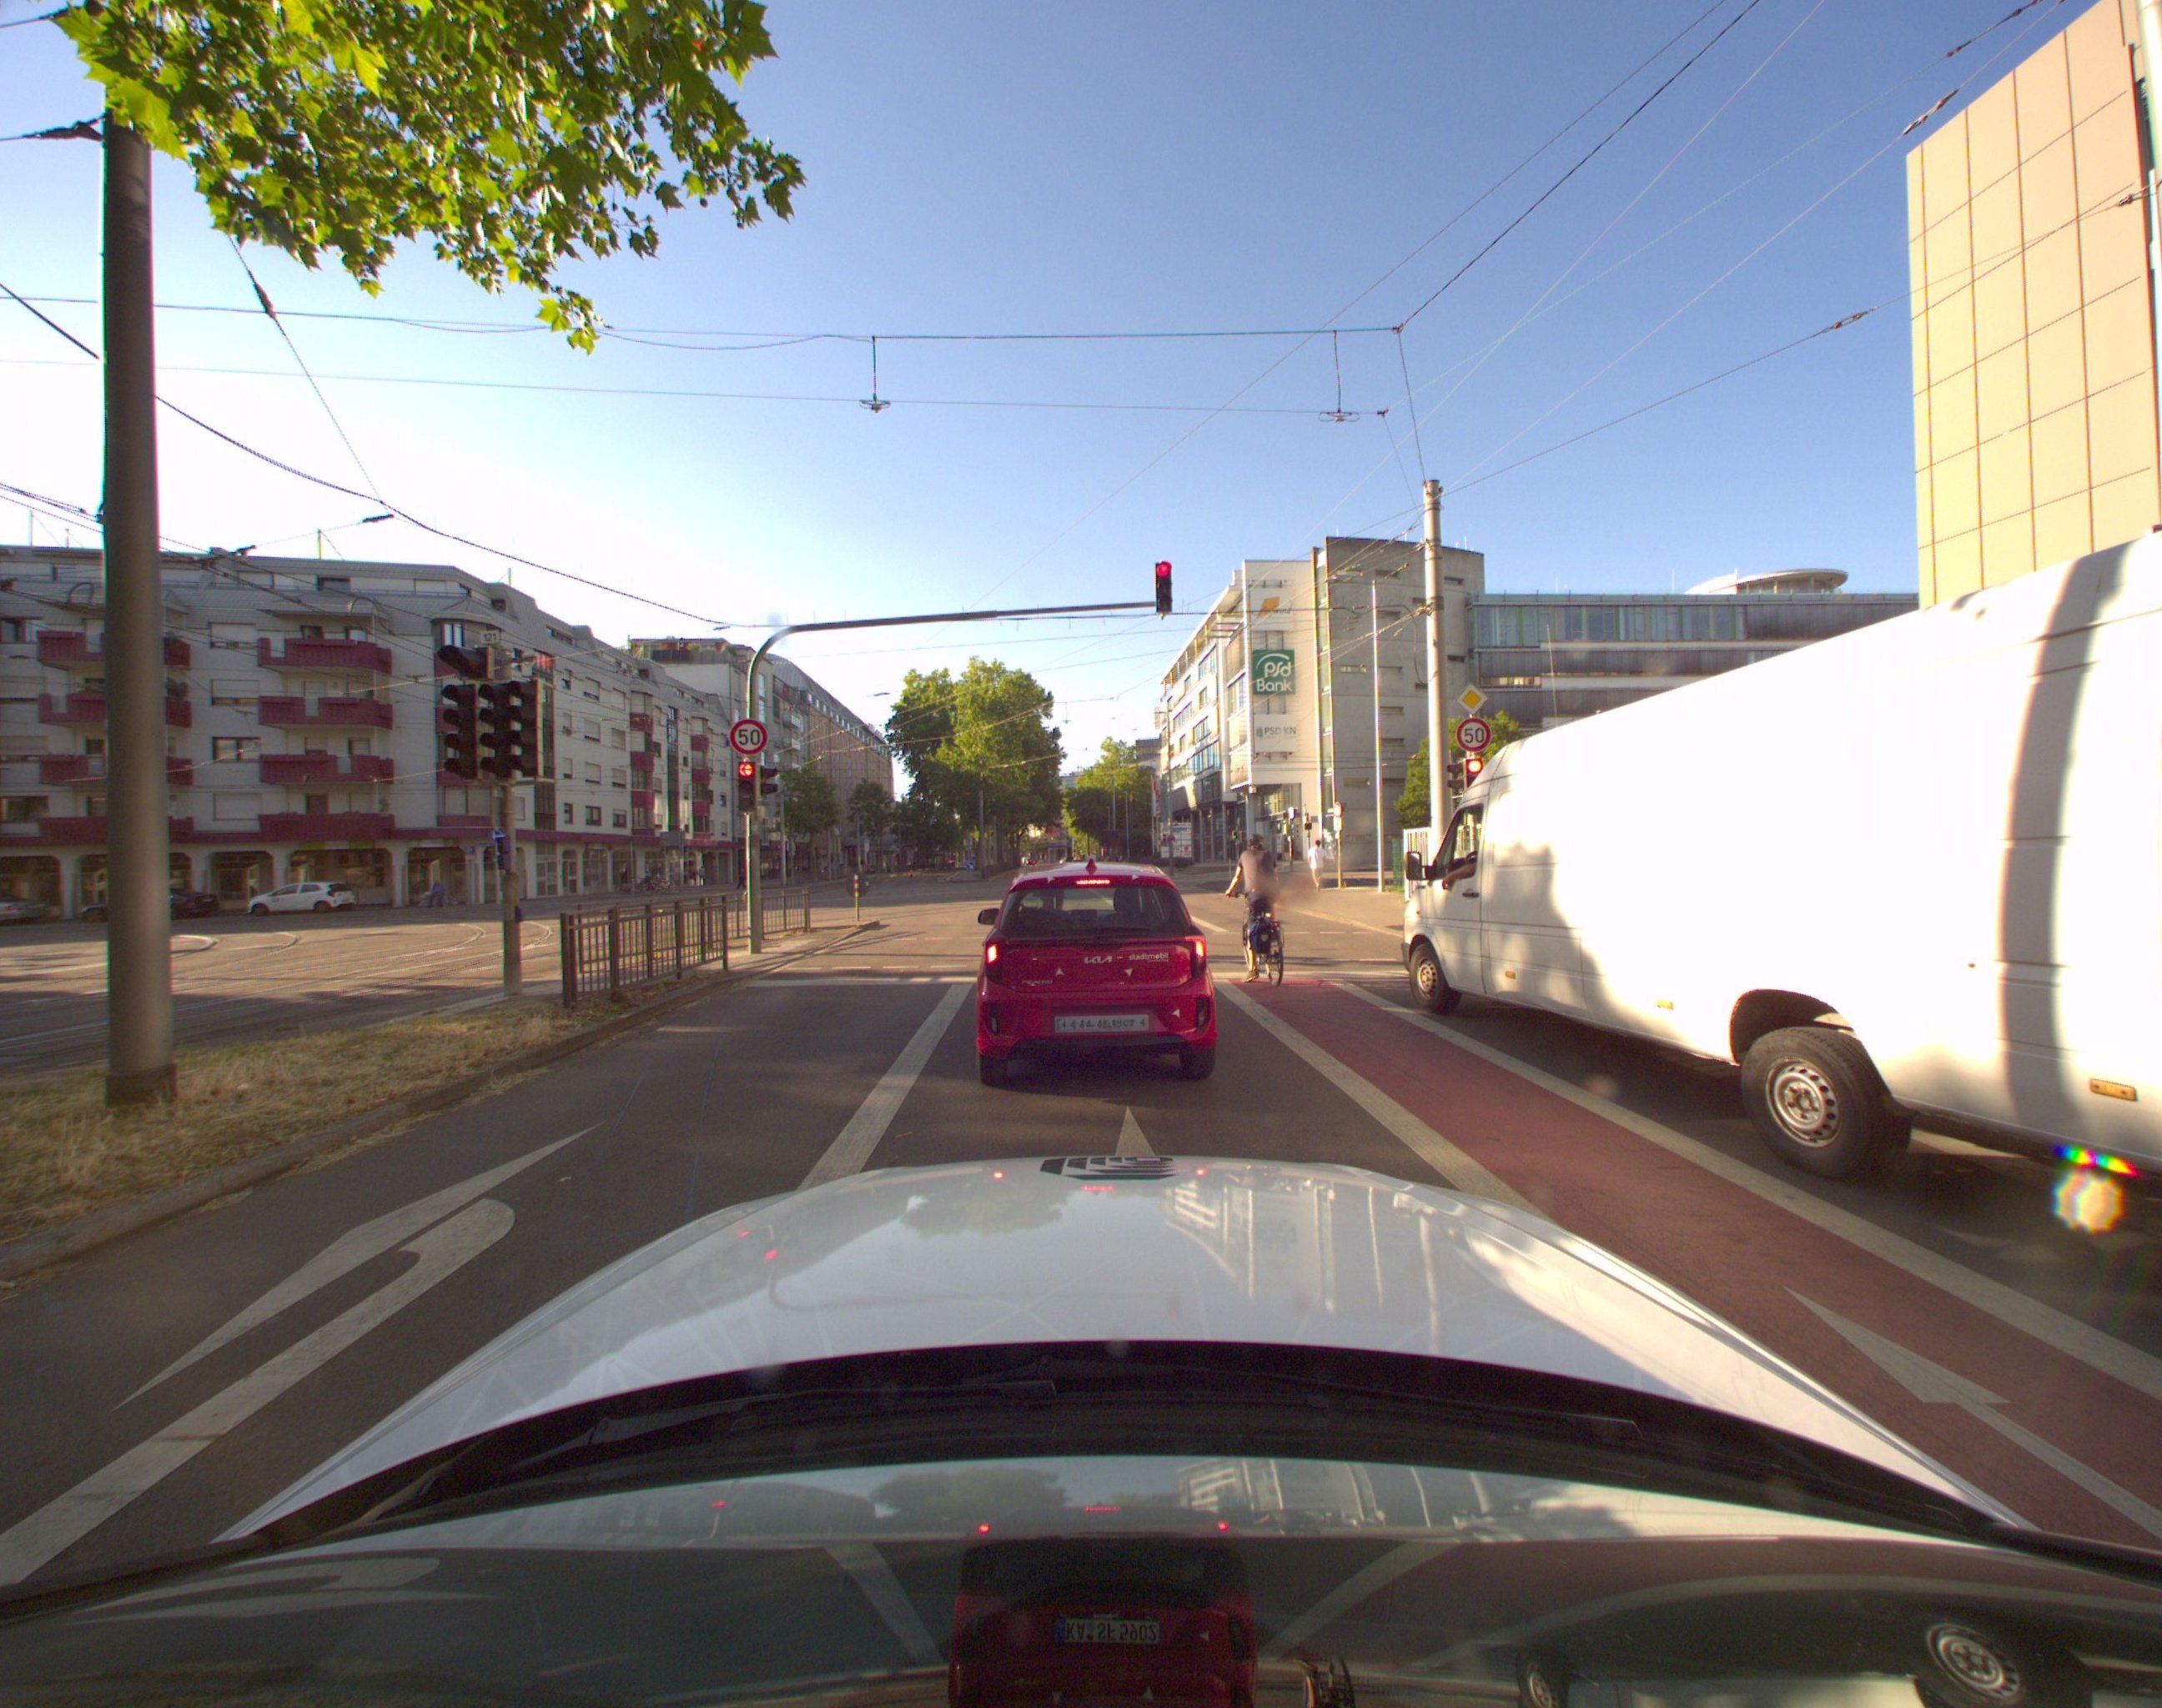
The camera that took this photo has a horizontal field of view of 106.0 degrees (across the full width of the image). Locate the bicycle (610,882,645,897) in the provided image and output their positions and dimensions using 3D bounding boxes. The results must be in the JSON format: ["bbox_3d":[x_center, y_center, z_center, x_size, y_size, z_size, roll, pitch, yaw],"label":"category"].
[{"bbox_3d":[-28.261,2.201,50.795,1.837,0.854,0.553,-2,0,-1],"label":"bicycle"}]

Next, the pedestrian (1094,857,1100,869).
[{"bbox_3d":[2.222,1.273,112.483,0.641,1.579,0.722,-5,0,-4],"label":"pedestrian"}]

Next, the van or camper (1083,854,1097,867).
[{"bbox_3d":[1.466,1.045,132.474,1.988,1.989,4.741,-1,0,-2],"label":"van or camper"}]

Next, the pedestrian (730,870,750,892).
[{"bbox_3d":[-24.666,1.926,58.924,1.038,1.544,0.697,-2,0,12],"label":"pedestrian"}]

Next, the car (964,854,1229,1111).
[{"bbox_3d":[0.027,0.788,6.718,1.609,1.535,3.408,-1,0,-3],"label":"car"}]

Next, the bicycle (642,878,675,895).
[{"bbox_3d":[-27.706,2.127,53.440,1.840,0.985,0.552,-2,0,-6],"label":"bicycle"}]

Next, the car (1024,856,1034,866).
[{"bbox_3d":[-11.297,1.570,176.086,1.991,2.013,3.992,-2,0,-6],"label":"car"}]

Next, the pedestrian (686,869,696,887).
[{"bbox_3d":[-31.849,1.959,66.526,0.533,1.494,0.586,-2,0,-6],"label":"pedestrian"}]

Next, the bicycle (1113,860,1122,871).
[{"bbox_3d":[3.766,1.176,84.494,0.694,1.098,1.750,-5,0,-1],"label":"bicycle"}]

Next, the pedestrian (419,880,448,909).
[{"bbox_3d":[-32.485,2.041,40.869,0.857,1.384,0.833,-2,0,-14],"label":"pedestrian"}]

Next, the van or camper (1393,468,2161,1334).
[{"bbox_3d":[4.316,0.145,5.366,1.963,2.716,6.301,-1,0,-1],"label":"van or camper"}]

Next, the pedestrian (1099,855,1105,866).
[{"bbox_3d":[3.410,1.070,131.769,0.888,1.753,0.841,-2,0,1],"label":"pedestrian"}]

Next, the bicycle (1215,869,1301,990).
[{"bbox_3d":[2.123,0.851,9.987,0.647,1.281,1.967,-2,0,2],"label":"bicycle"}]

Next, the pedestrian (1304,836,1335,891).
[{"bbox_3d":[8.111,0.320,27.752,0.773,1.823,1.218,-2,0,7],"label":"pedestrian"}]

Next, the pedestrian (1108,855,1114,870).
[{"bbox_3d":[3.524,0.975,95.336,0.644,1.680,0.651,-2,0,0],"label":"pedestrian"}]

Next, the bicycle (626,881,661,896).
[{"bbox_3d":[-27.701,2.171,51.556,1.837,0.854,0.553,-2,0,-1],"label":"bicycle"}]

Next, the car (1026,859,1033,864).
[{"bbox_3d":[-16.292,2.292,256.525,1.776,1.535,3.403,-1,0,-8],"label":"car"}]

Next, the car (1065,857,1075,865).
[{"bbox_3d":[-2.270,1.518,172.149,1.776,1.535,3.503,-1,0,-8],"label":"car"}]

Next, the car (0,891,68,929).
[{"bbox_3d":[-48.600,2.532,35.954,4.572,1.555,1.992,-2,0,-12],"label":"car"}]

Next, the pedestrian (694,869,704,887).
[{"bbox_3d":[-31.298,1.956,66.756,0.533,1.494,0.586,-2,0,-6],"label":"pedestrian"}]

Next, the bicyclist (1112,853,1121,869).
[{"bbox_3d":[3.712,0.698,84.447,0.720,1.603,1.088,-4,0,-2],"label":"bicyclist"}]

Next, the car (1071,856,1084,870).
[{"bbox_3d":[-0.466,1.169,108.893,1.631,1.800,3.328,-2,0,-1],"label":"car"}]

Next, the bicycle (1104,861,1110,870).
[{"bbox_3d":[3.063,1.351,95.172,0.519,0.975,2.201,-5,0,1],"label":"bicycle"}]

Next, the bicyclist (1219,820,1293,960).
[{"bbox_3d":[2.119,0.418,9.965,0.647,1.603,1.089,-2,0,2],"label":"bicyclist"}]

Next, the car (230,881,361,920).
[{"bbox_3d":[-37.170,2.164,38.655,3.989,1.555,1.992,-2,0,-12],"label":"car"}]

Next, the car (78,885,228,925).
[{"bbox_3d":[-42.426,2.310,37.353,4.112,1.555,1.992,-2,0,-12],"label":"car"}]

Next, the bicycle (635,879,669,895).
[{"bbox_3d":[-27.794,2.140,52.826,1.840,0.985,0.552,-2,0,-6],"label":"bicycle"}]
